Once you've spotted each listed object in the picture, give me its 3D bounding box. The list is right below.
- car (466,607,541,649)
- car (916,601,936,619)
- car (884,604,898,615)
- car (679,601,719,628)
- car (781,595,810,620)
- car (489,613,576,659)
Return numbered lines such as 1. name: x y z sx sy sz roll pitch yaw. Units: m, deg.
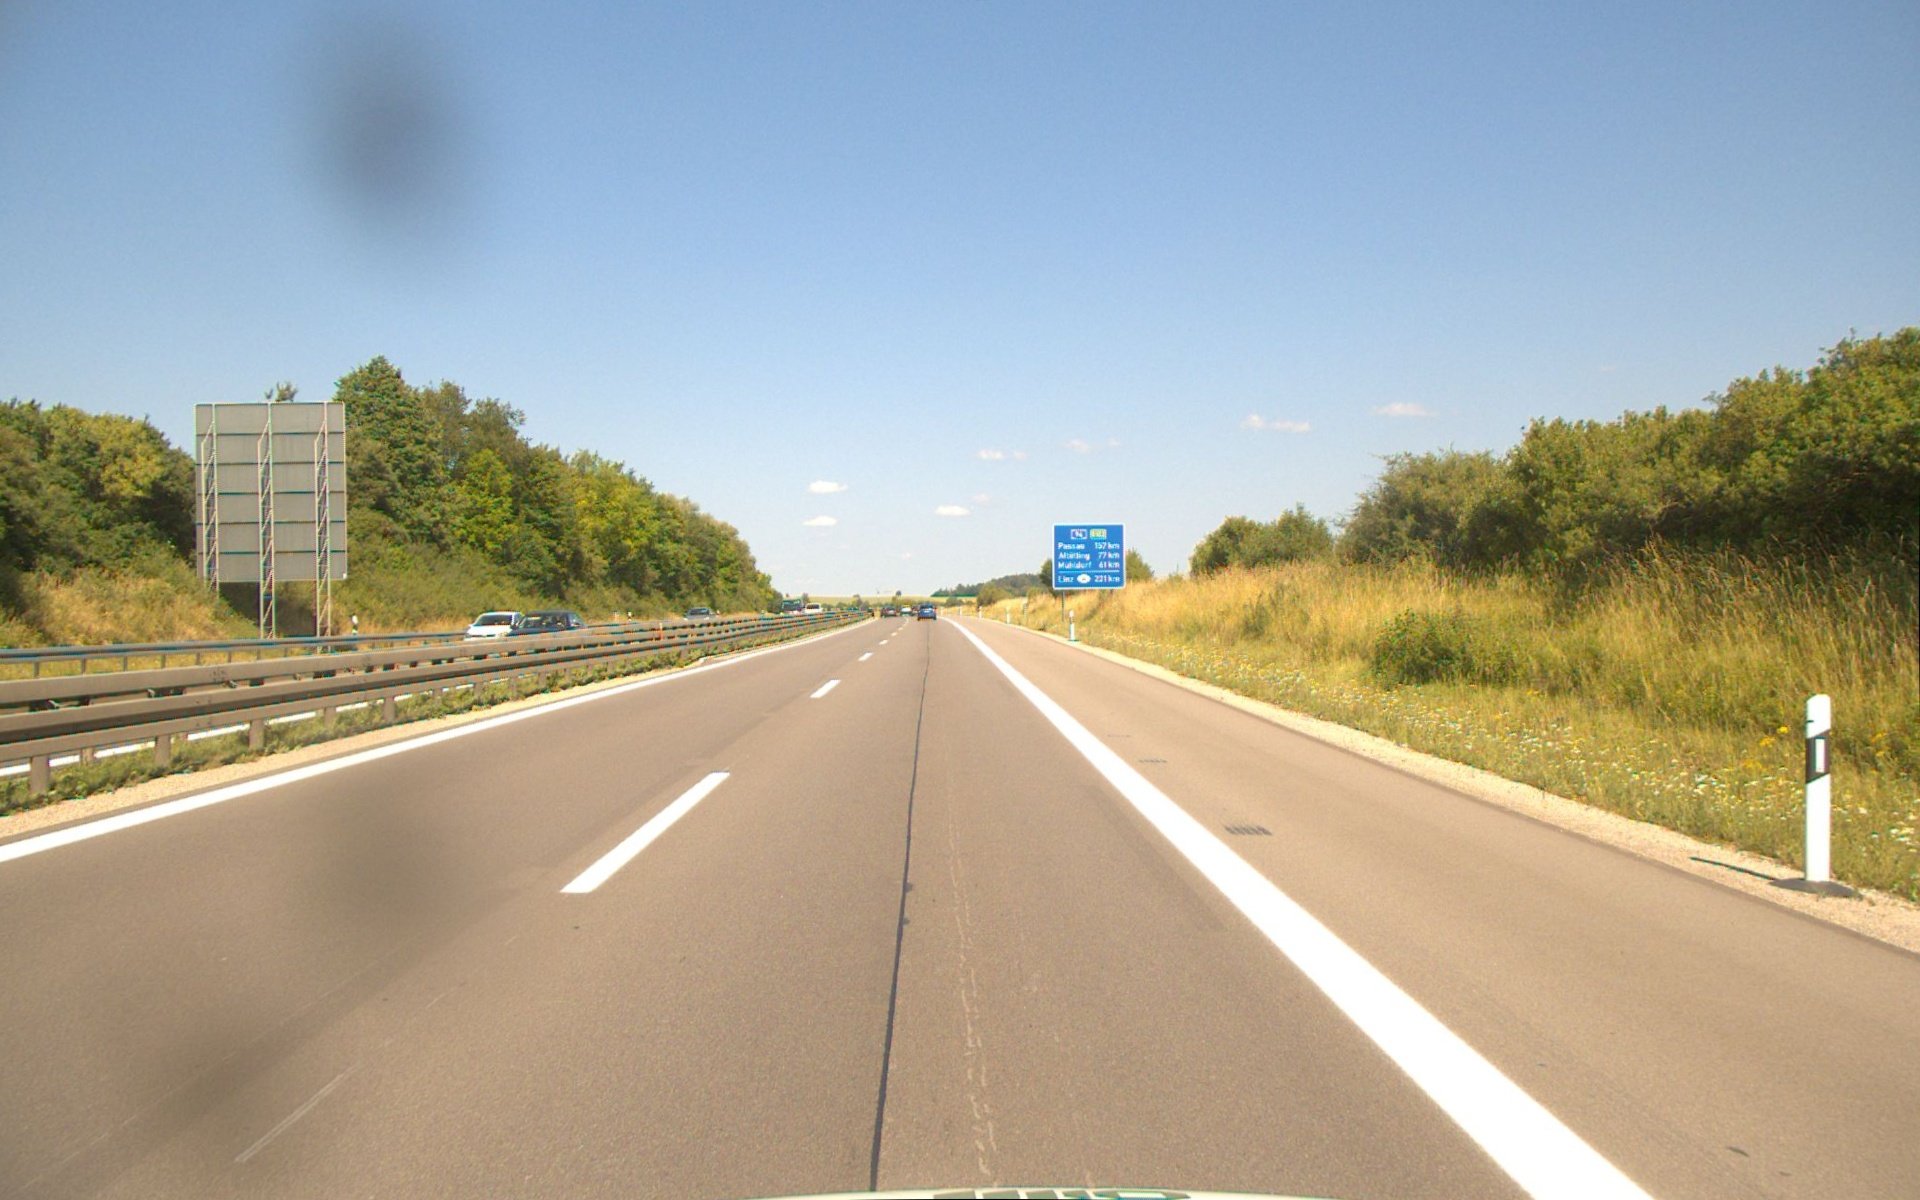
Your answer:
1. car: -15.981 0.954 58.020 1.491 1.376 4.231 -1 0 -1
2. car: -3.071 0.905 149.924 1.641 1.478 3.592 -2 -1 1
3. car: -9.528 1.277 229.872 1.792 1.478 3.591 -2 -1 0
4. car: -16.828 0.938 106.851 1.953 1.640 4.486 -1 0 -1
5. car: -13.654 0.641 137.269 1.953 2.007 5.038 -1 0 -1
6. car: -11.893 0.973 46.253 1.491 1.176 3.765 -1 0 -1
